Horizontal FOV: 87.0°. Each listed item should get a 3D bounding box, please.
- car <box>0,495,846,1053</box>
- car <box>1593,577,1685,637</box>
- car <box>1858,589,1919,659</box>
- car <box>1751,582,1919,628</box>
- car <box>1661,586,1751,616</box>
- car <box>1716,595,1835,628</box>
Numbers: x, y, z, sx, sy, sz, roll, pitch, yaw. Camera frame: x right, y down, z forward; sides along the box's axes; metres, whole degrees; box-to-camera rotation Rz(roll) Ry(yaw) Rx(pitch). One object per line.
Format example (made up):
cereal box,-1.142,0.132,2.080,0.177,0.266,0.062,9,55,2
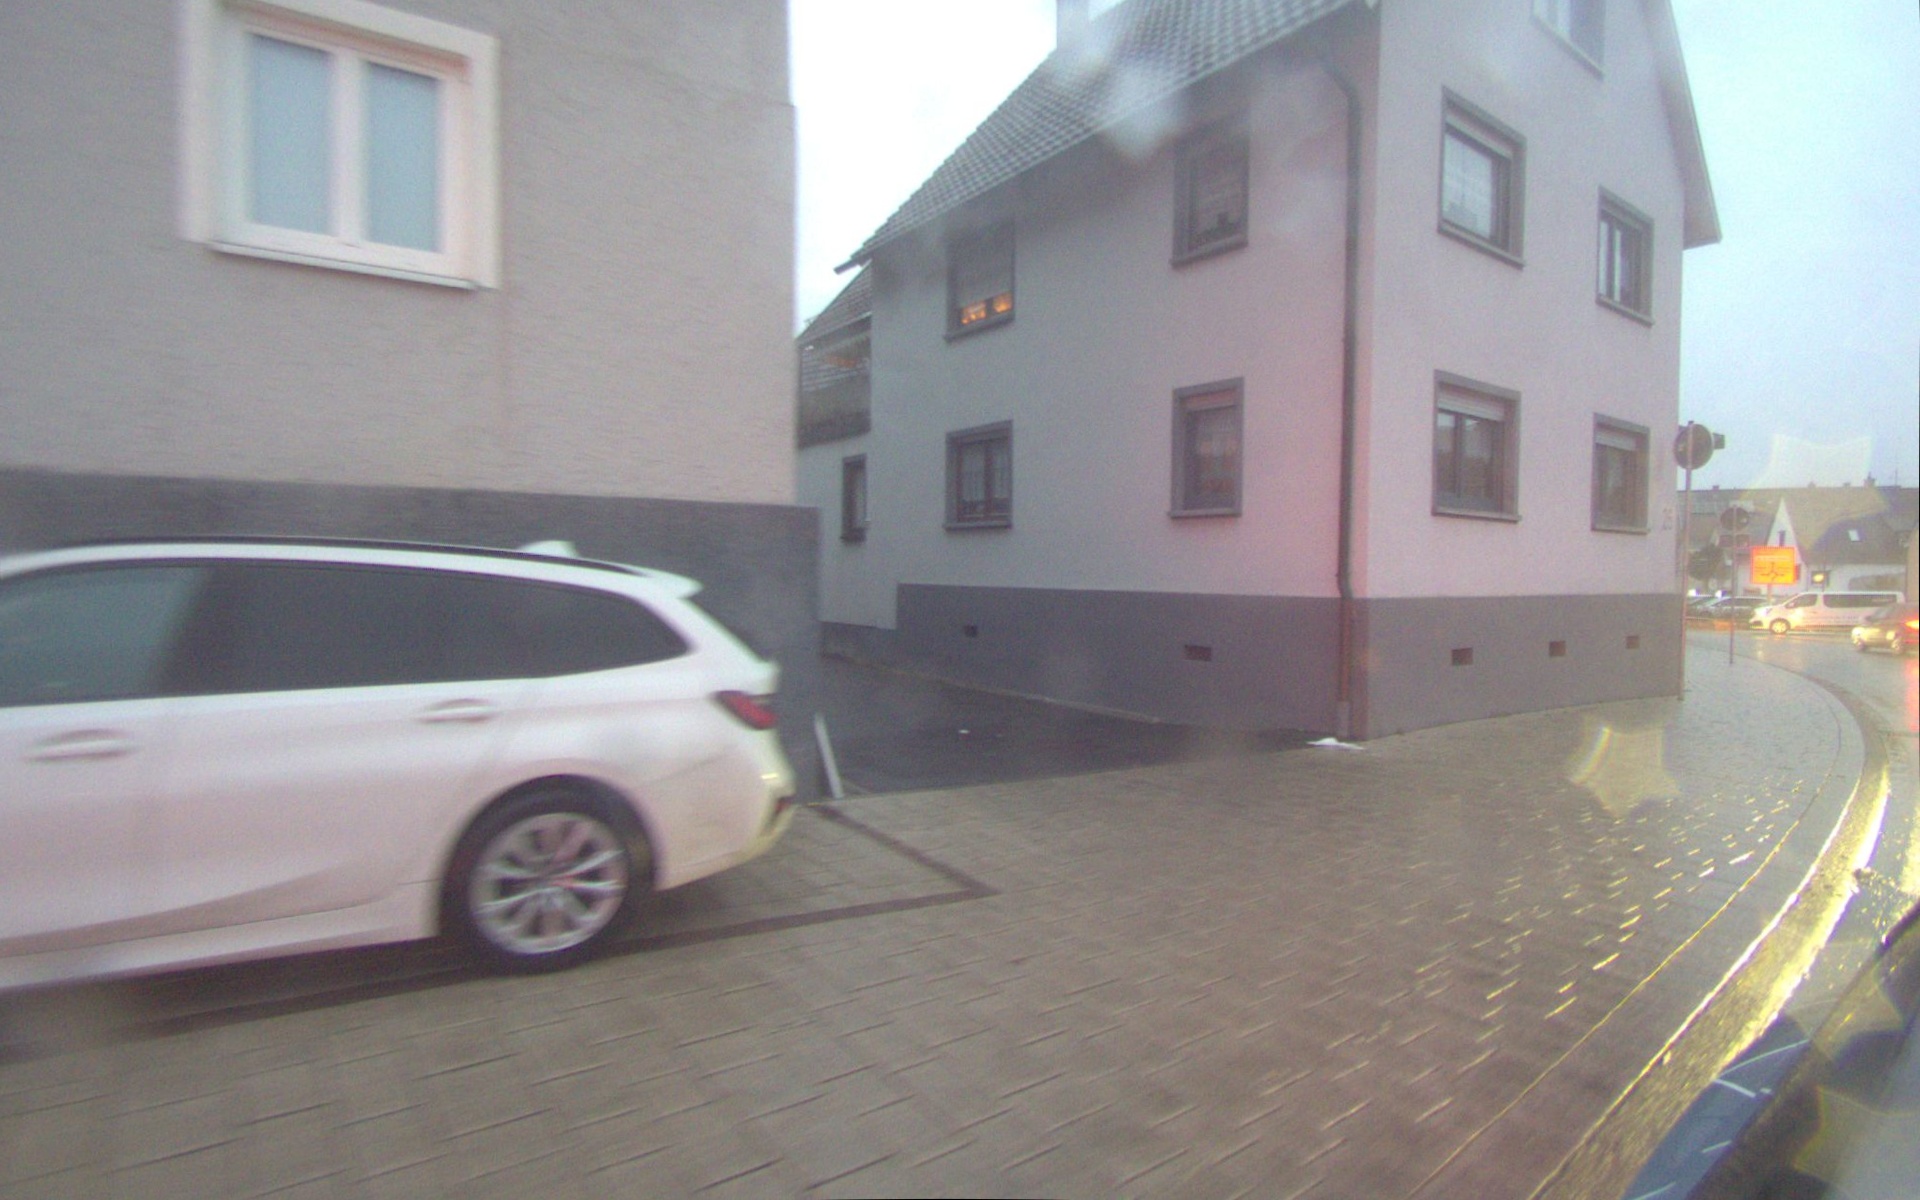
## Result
car,-2.851,0.421,3.592,4.452,1.484,1.892,1,2,-31
car,24.309,0.212,36.405,1.959,1.984,4.810,2,1,25
car,28.682,0.657,29.947,2.129,1.884,4.695,0,1,29
car,39.438,0.188,45.652,5.737,1.971,1.967,0,0,33
car,49.213,0.037,66.853,4.371,1.824,1.833,2,1,19
car,46.253,0.626,57.551,4.823,1.705,1.986,2,0,21
